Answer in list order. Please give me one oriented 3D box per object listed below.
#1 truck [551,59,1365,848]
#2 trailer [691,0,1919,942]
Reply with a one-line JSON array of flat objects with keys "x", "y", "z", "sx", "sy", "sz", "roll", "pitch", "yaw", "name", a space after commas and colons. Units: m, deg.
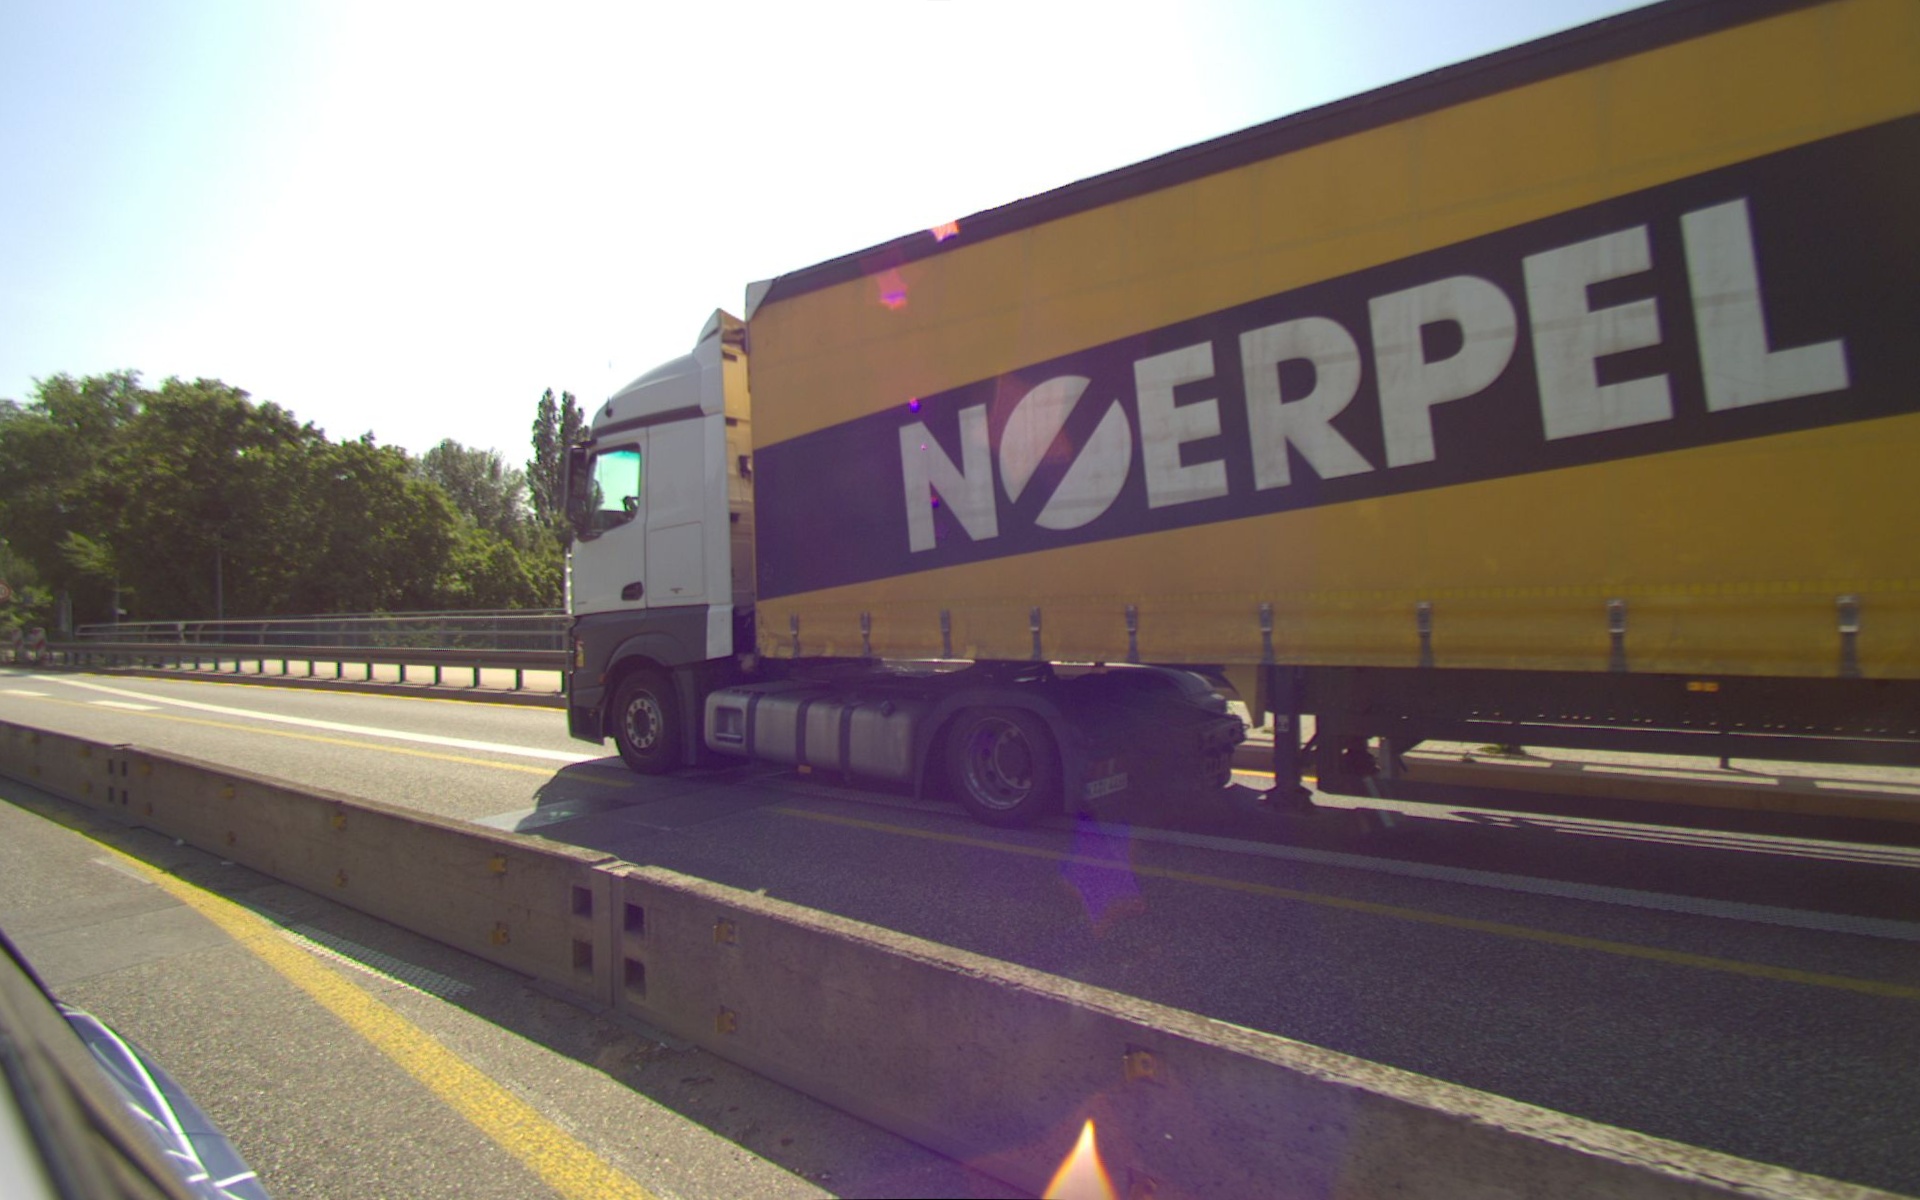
[{"x": -0.369, "y": -0.733, "z": 8.368, "sx": 6.404, "sy": 4.168, "sz": 2.724, "roll": -1, "pitch": -1, "yaw": 37, "name": "truck"}, {"x": 4.480, "y": -0.817, "z": 4.763, "sx": 14.505, "sy": 4.168, "sz": 2.736, "roll": -1, "pitch": -1, "yaw": 37, "name": "trailer"}]
